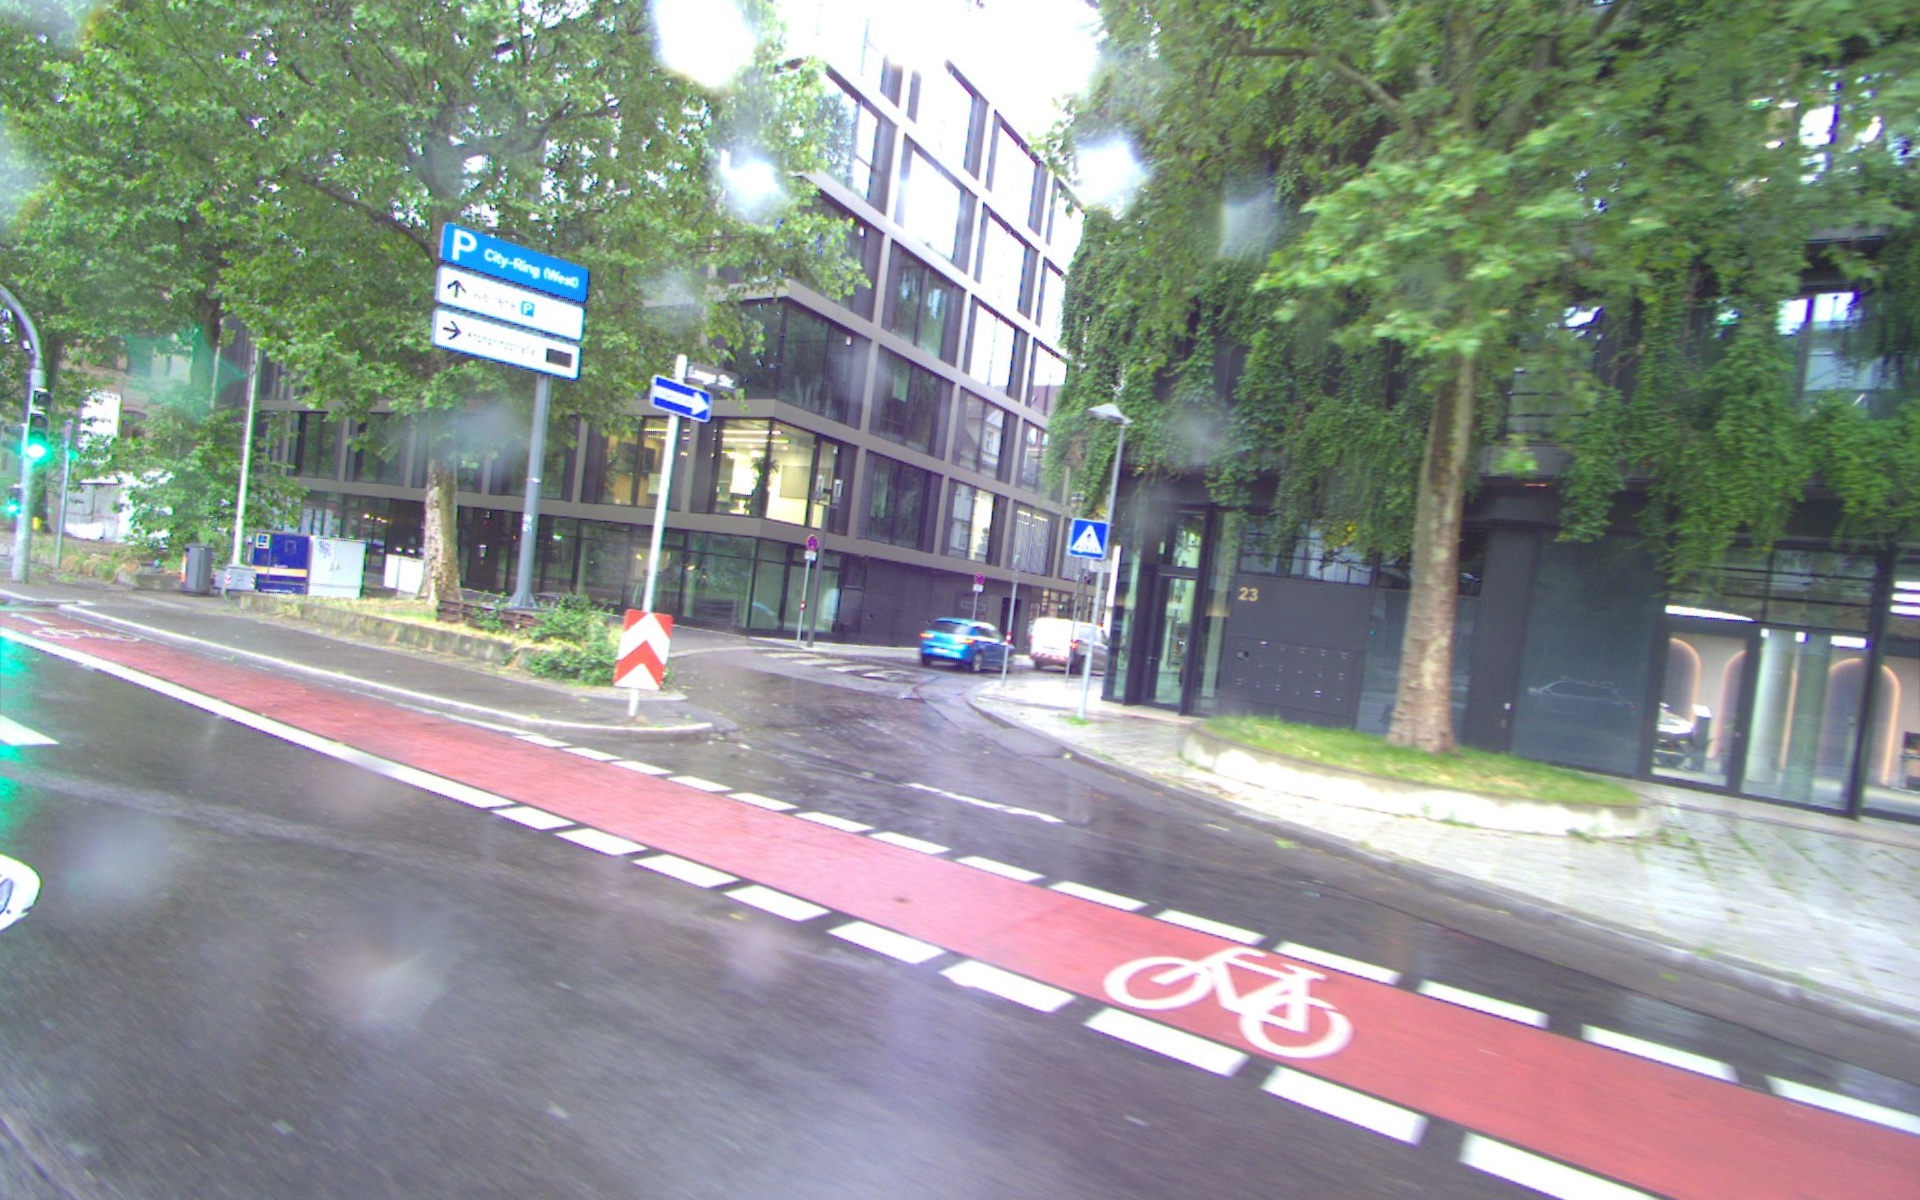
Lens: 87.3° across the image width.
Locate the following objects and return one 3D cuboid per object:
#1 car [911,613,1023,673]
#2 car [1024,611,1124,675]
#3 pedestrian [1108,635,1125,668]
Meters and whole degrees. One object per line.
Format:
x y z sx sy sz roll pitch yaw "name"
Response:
0.284 1.283 29.329 1.768 1.453 4.062 6 -1 22 "car"
4.320 1.655 37.414 1.892 1.968 4.961 6 -2 28 "car"
7.906 2.580 50.713 0.537 1.579 0.503 6 -1 29 "pedestrian"
